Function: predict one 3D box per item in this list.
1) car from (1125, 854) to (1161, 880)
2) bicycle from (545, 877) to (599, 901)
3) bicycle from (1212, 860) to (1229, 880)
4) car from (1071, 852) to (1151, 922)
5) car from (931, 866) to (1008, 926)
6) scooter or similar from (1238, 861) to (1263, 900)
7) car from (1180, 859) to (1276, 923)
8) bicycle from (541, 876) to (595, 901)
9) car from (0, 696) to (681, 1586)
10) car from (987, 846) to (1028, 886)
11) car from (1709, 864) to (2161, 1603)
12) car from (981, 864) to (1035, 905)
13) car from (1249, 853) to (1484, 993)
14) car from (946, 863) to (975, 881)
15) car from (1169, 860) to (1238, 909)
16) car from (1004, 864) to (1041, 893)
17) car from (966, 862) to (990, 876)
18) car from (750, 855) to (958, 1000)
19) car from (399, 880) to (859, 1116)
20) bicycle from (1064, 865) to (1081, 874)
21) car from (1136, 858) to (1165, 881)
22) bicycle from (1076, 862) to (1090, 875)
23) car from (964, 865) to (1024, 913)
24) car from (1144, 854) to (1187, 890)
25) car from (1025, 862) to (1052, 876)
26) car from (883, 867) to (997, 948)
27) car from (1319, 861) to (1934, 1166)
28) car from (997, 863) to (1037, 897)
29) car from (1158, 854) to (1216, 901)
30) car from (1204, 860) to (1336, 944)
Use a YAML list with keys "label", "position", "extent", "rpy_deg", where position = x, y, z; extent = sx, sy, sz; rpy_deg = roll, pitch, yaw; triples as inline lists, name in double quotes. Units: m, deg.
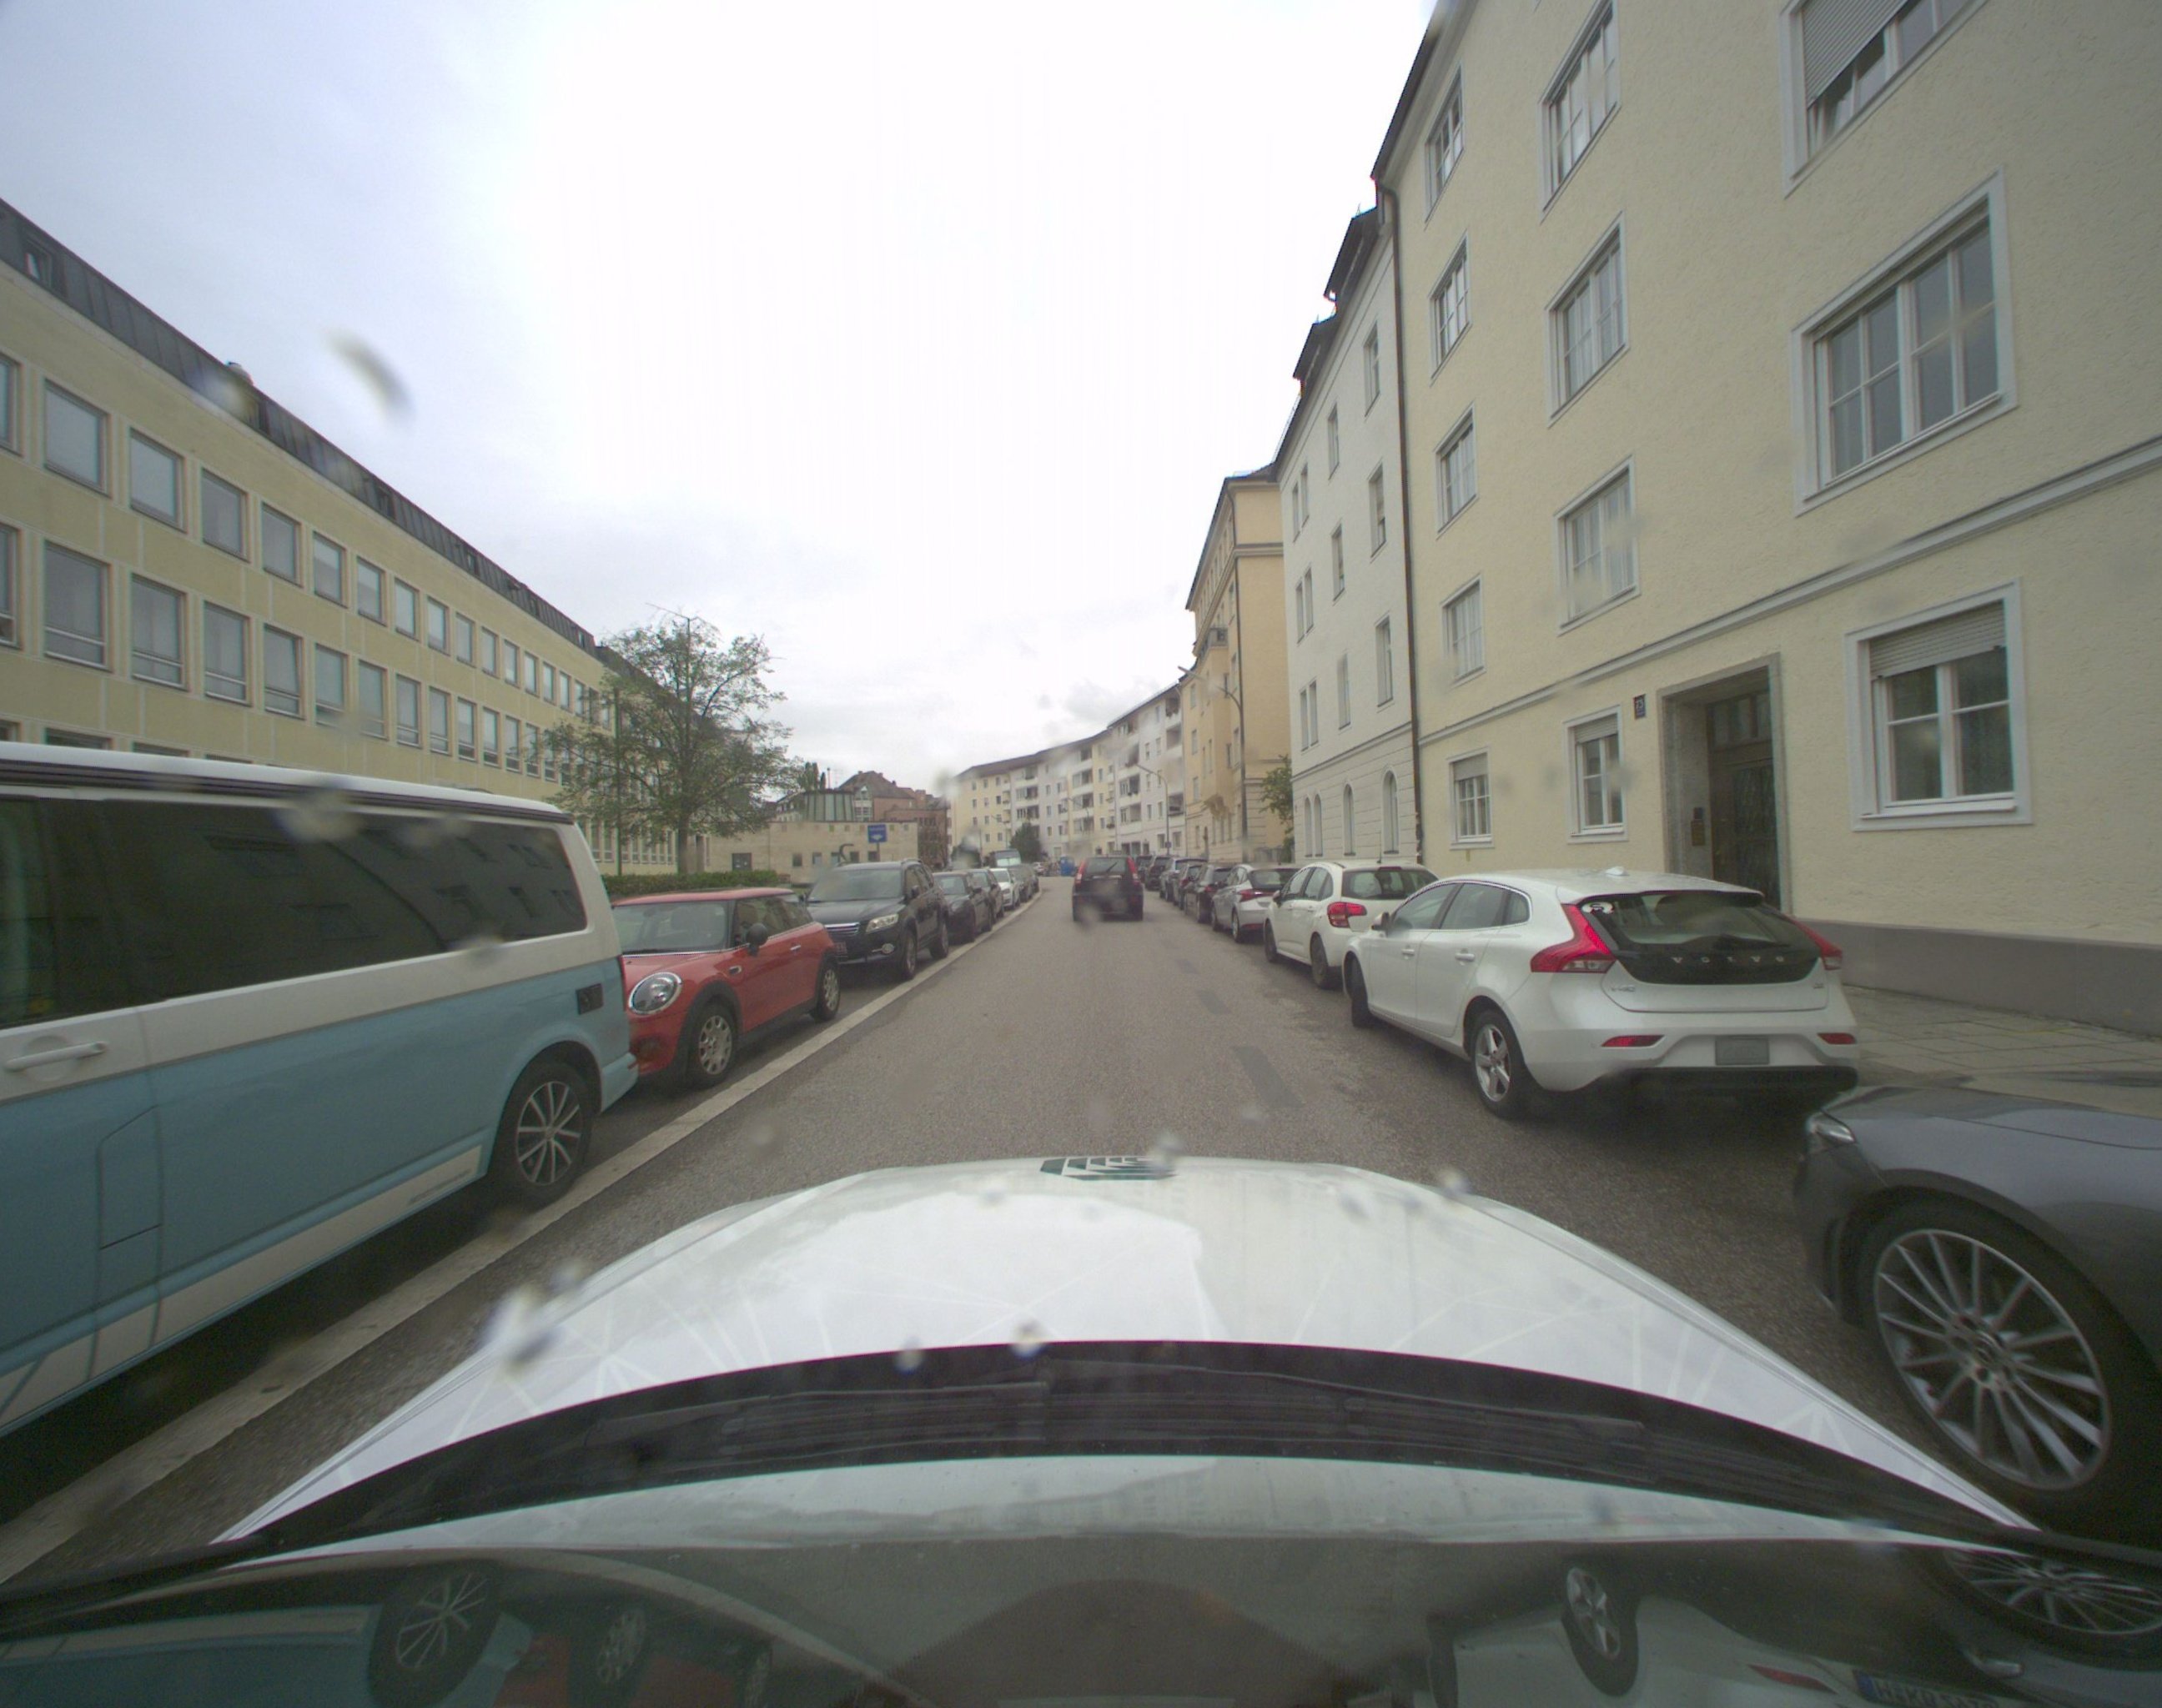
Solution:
- label: "car"
  position: [4.415, 0.932, 58.307]
  extent: [1.776, 1.807, 4.266]
  rpy_deg: [0, -1, -7]
- label: "bicycle"
  position: [-23.086, 1.577, 36.971]
  extent: [1.948, 1.014, 0.623]
  rpy_deg: [-1, -1, -13]
- label: "bicycle"
  position: [7.880, 0.896, 45.992]
  extent: [0.577, 1.083, 1.954]
  rpy_deg: [-4, 0, 2]
- label: "car"
  position: [0.708, 0.832, 21.869]
  extent: [1.886, 1.647, 3.988]
  rpy_deg: [-1, -1, -2]
- label: "car"
  position: [-3.059, 1.113, 23.057]
  extent: [1.652, 1.453, 3.972]
  rpy_deg: [-3, -1, -1]
- label: "scooter or similar"
  position: [5.283, 0.821, 25.423]
  extent: [0.483, 1.164, 1.172]
  rpy_deg: [-1, -1, -1]
- label: "car"
  position: [3.639, 0.886, 20.904]
  extent: [1.673, 1.427, 4.390]
  rpy_deg: [-1, -1, 0]
- label: "bicycle"
  position: [-22.783, 1.527, 36.199]
  extent: [1.946, 1.014, 0.623]
  rpy_deg: [-1, -1, -9]
- label: "car"
  position: [-3.397, 0.680, 2.402]
  extent: [1.922, 1.979, 5.020]
  rpy_deg: [-3, -1, -1]
- label: "car"
  position: [-5.428, 0.867, 59.571]
  extent: [2.166, 2.641, 5.991]
  rpy_deg: [-3, 0, -12]
- label: "car"
  position: [2.916, 0.726, 0.503]
  extent: [1.673, 1.410, 4.422]
  rpy_deg: [-1, -1, 1]
- label: "car"
  position: [-2.952, 1.215, 33.768]
  extent: [1.749, 1.453, 4.395]
  rpy_deg: [-3, -1, 0]
- label: "car"
  position: [3.538, 0.775, 10.944]
  extent: [1.673, 1.481, 4.166]
  rpy_deg: [-1, -1, 0]
- label: "car"
  position: [-12.194, 1.816, 82.118]
  extent: [1.687, 1.707, 4.475]
  rpy_deg: [-1, -1, -25]
- label: "car"
  position: [3.854, 0.930, 26.245]
  extent: [1.673, 1.427, 4.087]
  rpy_deg: [-1, -1, 1]
- label: "car"
  position: [-3.103, 1.275, 43.663]
  extent: [1.795, 1.406, 4.450]
  rpy_deg: [-3, -1, -3]
- label: "car"
  position: [-14.239, 2.074, 112.053]
  extent: [1.736, 1.878, 3.959]
  rpy_deg: [0, -1, -32]
- label: "car"
  position: [-3.181, 0.941, 12.439]
  extent: [1.738, 1.666, 4.449]
  rpy_deg: [-5, -1, 1]
- label: "car"
  position: [-3.420, 0.982, 7.145]
  extent: [1.737, 1.387, 3.919]
  rpy_deg: [-1, -1, 2]
- label: "bicycle"
  position: [-1.040, 1.894, 97.967]
  extent: [1.872, 1.091, 0.561]
  rpy_deg: [-1, -1, -21]
- label: "car"
  position: [4.507, 0.970, 53.239]
  extent: [1.701, 1.447, 3.832]
  rpy_deg: [0, -1, 3]
- label: "bicycle"
  position: [0.245, 1.622, 90.246]
  extent: [0.970, 1.388, 2.551]
  rpy_deg: [-1, -1, -14]
- label: "car"
  position: [-2.984, 1.179, 28.572]
  extent: [1.652, 1.453, 4.070]
  rpy_deg: [-3, -1, -1]
- label: "car"
  position: [4.201, 0.880, 41.198]
  extent: [1.862, 1.717, 4.867]
  rpy_deg: [0, -1, 2]
- label: "car"
  position: [-4.964, 1.737, 95.132]
  extent: [1.733, 1.483, 3.965]
  rpy_deg: [0, -1, -26]
- label: "car"
  position: [-2.936, 1.064, 17.782]
  extent: [1.674, 1.453, 3.870]
  rpy_deg: [-3, -1, 1]
- label: "car"
  position: [3.246, 0.787, 6.109]
  extent: [1.673, 1.410, 4.443]
  rpy_deg: [-1, -1, 1]
- label: "car"
  position: [-2.996, 1.216, 38.831]
  extent: [1.652, 1.453, 3.310]
  rpy_deg: [-3, -1, -1]
- label: "car"
  position: [3.981, 0.861, 31.293]
  extent: [1.716, 1.634, 4.458]
  rpy_deg: [-1, -1, 1]
- label: "car"
  position: [3.618, 0.864, 16.322]
  extent: [1.673, 1.427, 4.166]
  rpy_deg: [-1, -1, 0]
